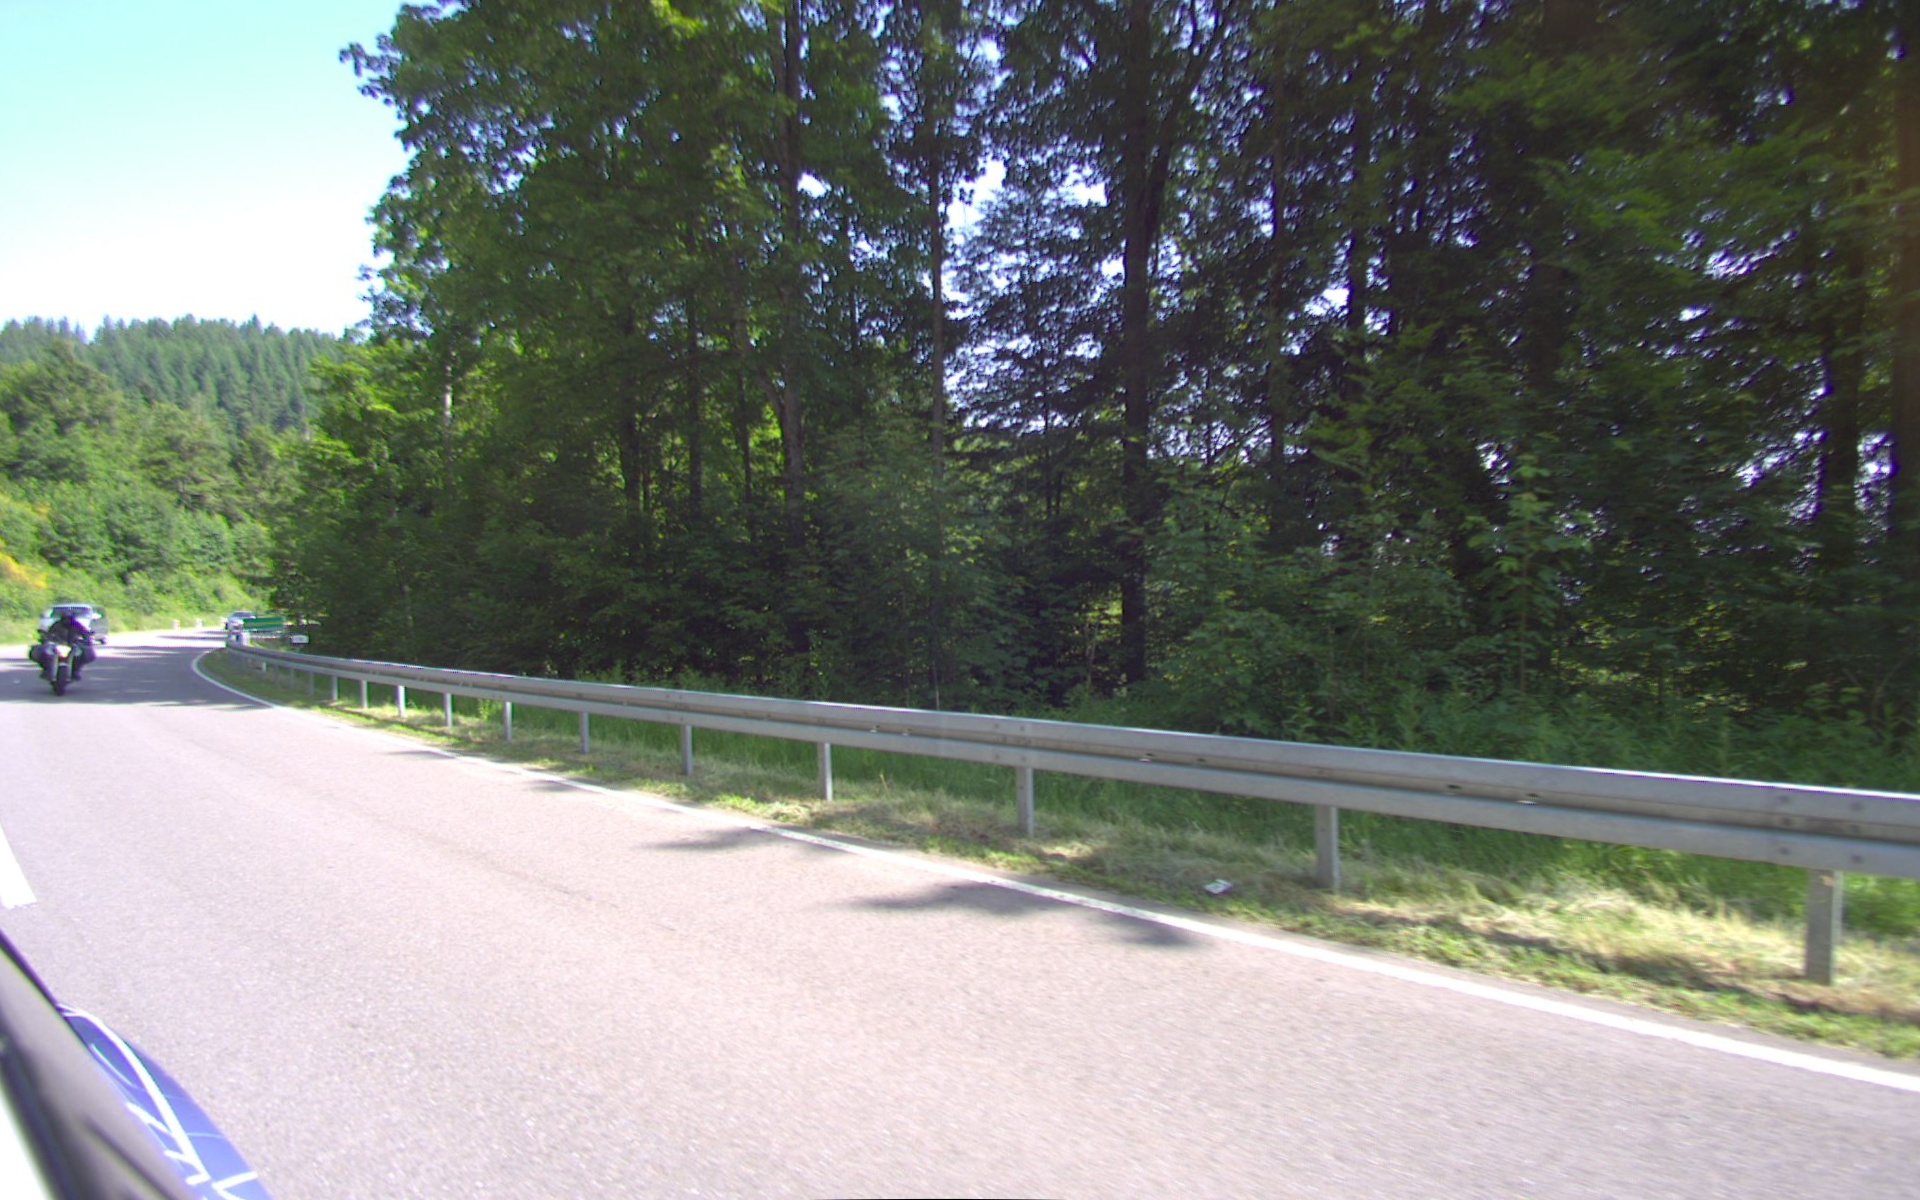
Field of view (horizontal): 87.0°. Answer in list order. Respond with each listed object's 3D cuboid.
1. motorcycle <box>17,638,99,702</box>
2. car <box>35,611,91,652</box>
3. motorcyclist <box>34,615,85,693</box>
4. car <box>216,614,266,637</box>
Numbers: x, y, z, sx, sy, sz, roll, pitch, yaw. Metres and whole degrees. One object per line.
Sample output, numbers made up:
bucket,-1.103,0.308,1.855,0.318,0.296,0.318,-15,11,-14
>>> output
motorcycle,-17.347,1.323,19.480,1.093,1.132,1.963,3,-3,-42
car,-41.016,1.432,46.318,1.627,1.773,3.802,2,-2,-38
motorcyclist,-17.202,1.015,19.334,0.706,1.441,1.000,0,-1,-42
car,-56.608,1.975,79.746,1.966,1.655,4.012,1,0,-17
